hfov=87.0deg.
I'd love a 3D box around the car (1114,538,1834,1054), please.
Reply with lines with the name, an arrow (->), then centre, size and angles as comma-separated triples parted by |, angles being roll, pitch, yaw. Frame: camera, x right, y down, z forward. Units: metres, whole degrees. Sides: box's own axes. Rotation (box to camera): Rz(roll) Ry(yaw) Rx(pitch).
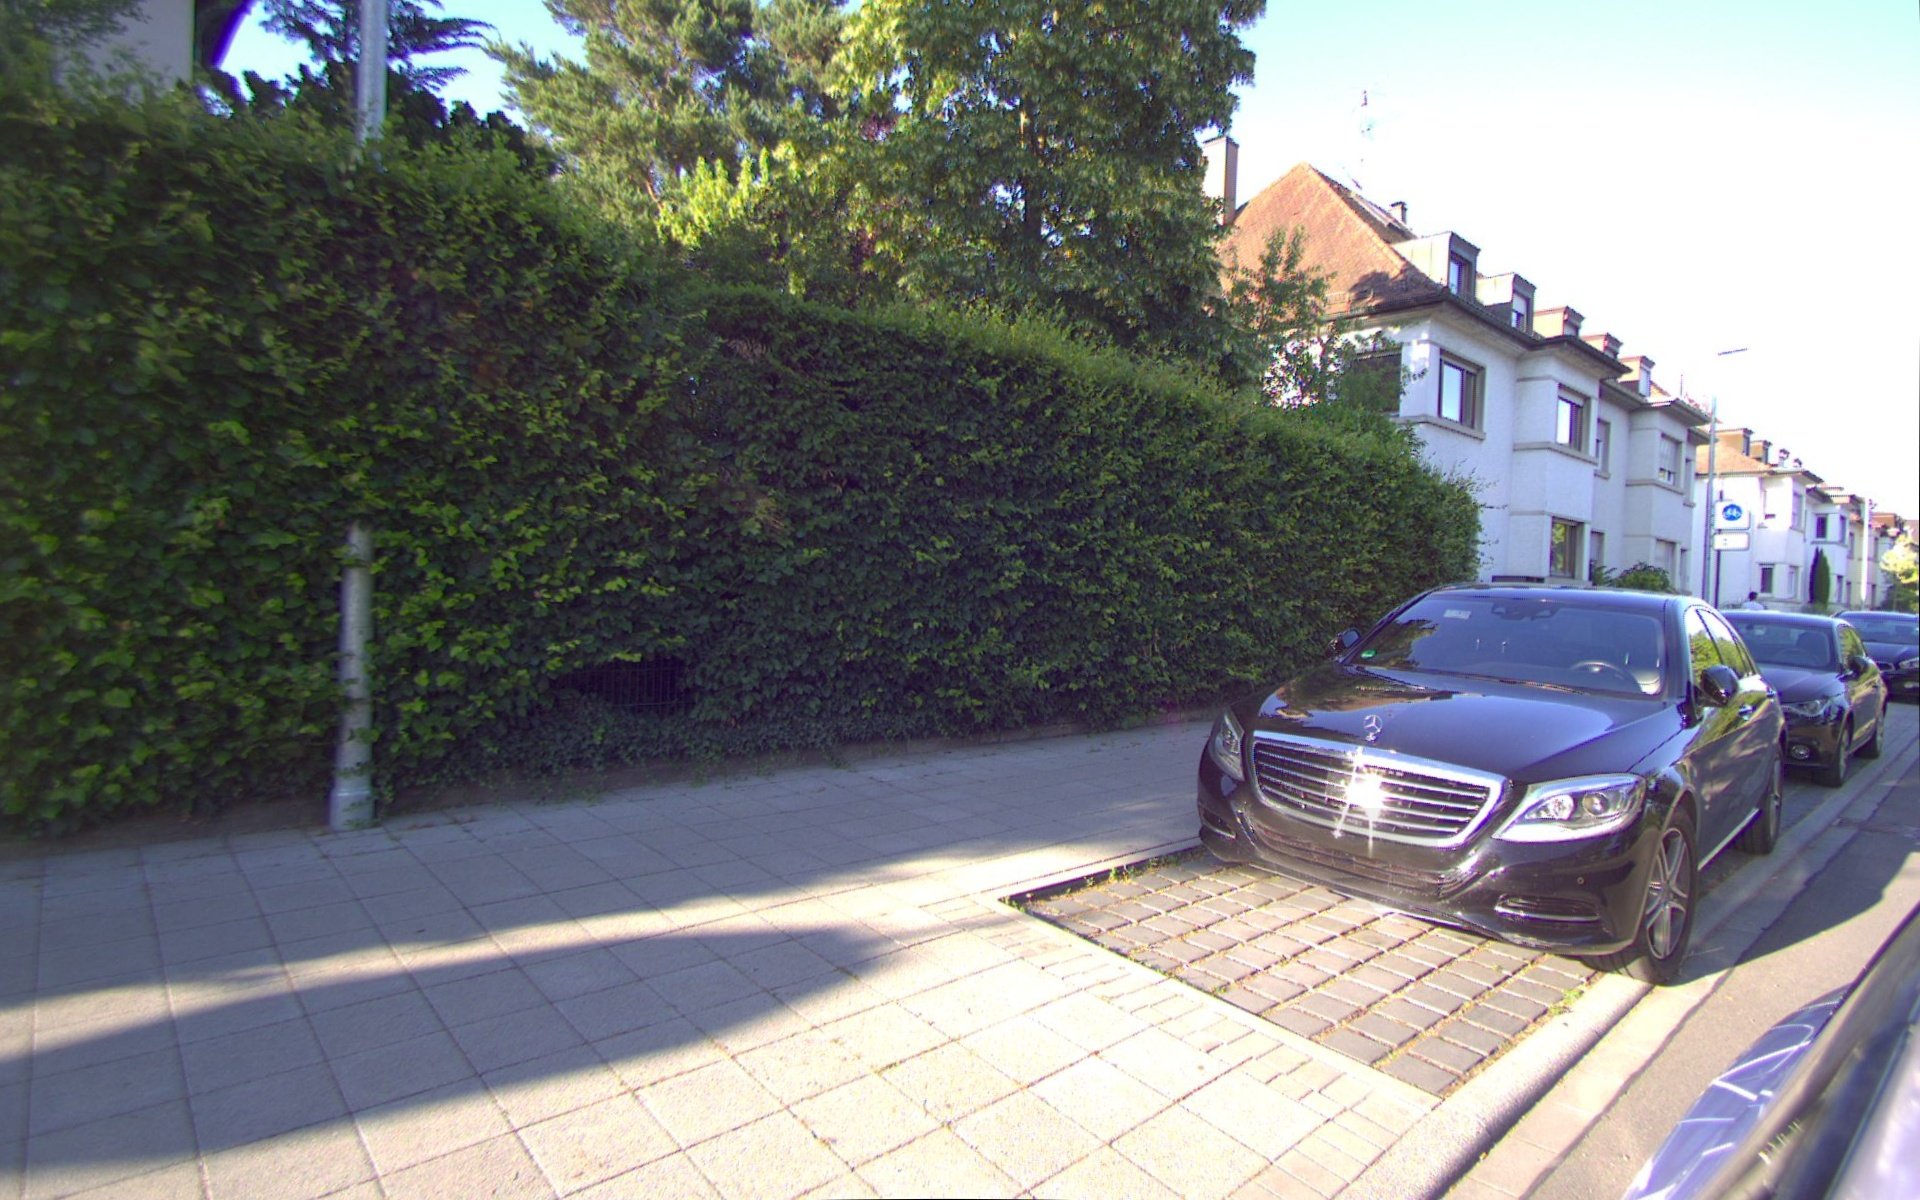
car -> 3.115, 0.559, 5.450 | 4.835, 1.517, 2.005 | 1, 3, -45

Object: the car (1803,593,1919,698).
car -> 15.973, 0.736, 17.401 | 4.007, 1.616, 1.793 | 1, -1, -43

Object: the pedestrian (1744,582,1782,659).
pedestrian -> 19.769, 0.489, 24.903 | 0.809, 1.869, 0.587 | 0, 0, -41

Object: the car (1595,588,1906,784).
car -> 7.736, 0.681, 9.772 | 3.932, 1.496, 1.781 | 1, -1, -43

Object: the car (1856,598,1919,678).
car -> 19.931, 0.765, 20.922 | 3.410, 1.554, 1.679 | 1, -1, -41

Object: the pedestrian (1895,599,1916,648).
pedestrian -> 35.165, 0.866, 37.637 | 0.579, 1.821, 0.530 | 1, -1, -44
